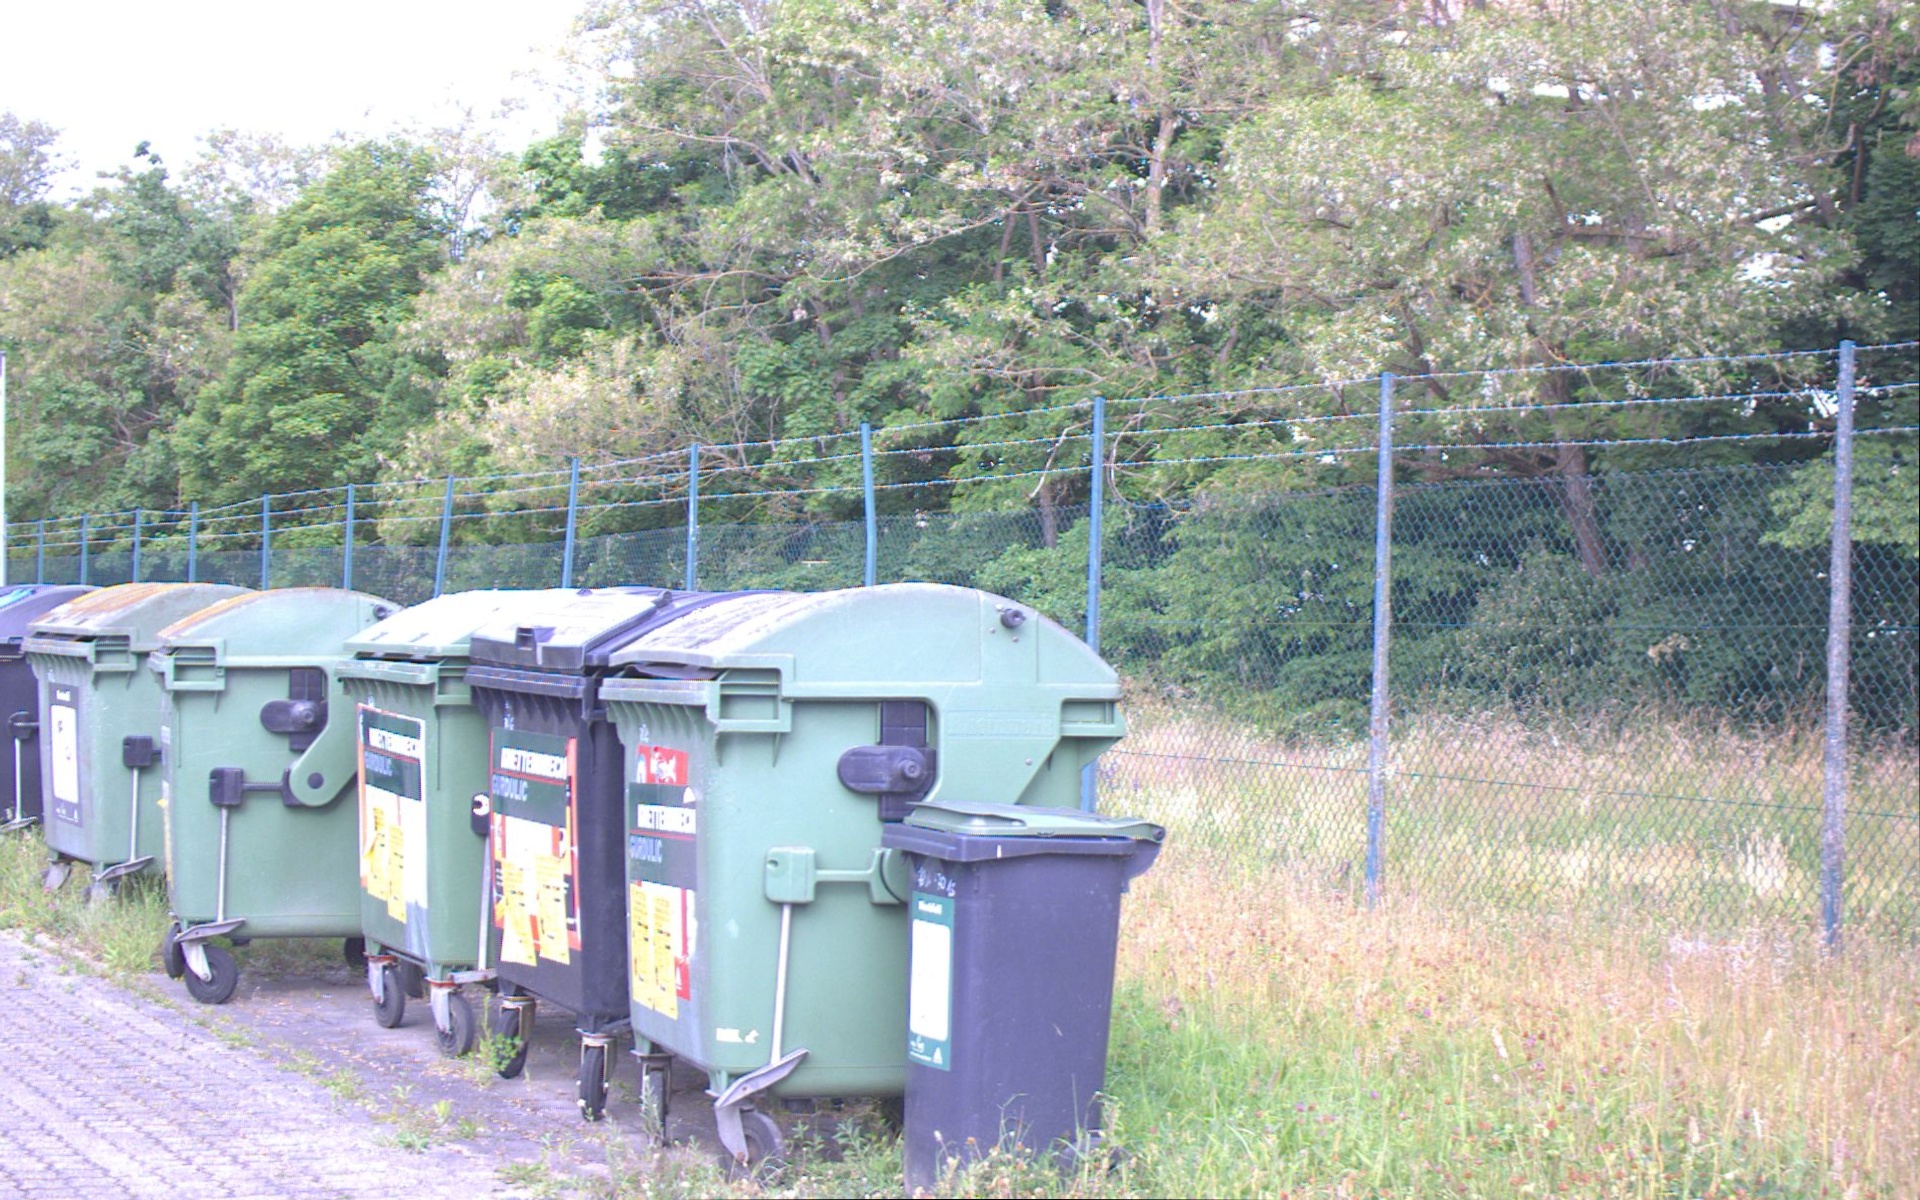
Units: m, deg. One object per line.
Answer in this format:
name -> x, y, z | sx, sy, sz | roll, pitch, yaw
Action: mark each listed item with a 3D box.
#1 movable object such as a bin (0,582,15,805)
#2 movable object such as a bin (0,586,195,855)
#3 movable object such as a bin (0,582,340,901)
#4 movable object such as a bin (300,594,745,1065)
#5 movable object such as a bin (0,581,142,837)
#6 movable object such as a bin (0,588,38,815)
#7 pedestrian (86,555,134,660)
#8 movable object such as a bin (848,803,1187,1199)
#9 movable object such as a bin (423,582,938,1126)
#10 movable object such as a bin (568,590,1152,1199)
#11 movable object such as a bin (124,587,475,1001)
movable object such as a bin -> -6.604, 0.570, 21.675 | 1.122, 1.375, 1.325 | 2, -1, -19
movable object such as a bin -> -4.647, 0.606, 17.745 | 1.154, 1.320, 1.494 | 2, -1, -19
movable object such as a bin -> -3.421, 0.592, 14.780 | 1.122, 1.292, 1.380 | 2, -1, -26
movable object such as a bin -> -1.438, 0.704, 11.089 | 1.069, 1.401, 1.385 | 2, -1, -22
movable object such as a bin -> -5.243, 0.593, 19.212 | 1.122, 1.369, 1.494 | 2, -1, -19
movable object such as a bin -> -6.128, 0.580, 20.460 | 1.122, 1.317, 1.325 | 1, 0, -19
pedestrian -> -16.406, 0.137, 66.344 | 0.759, 2.007, 0.664 | 1, 0, -26
movable object such as a bin -> 0.120, 0.908, 7.773 | 0.599, 0.863, 0.586 | 2, -1, -16
movable object such as a bin -> -0.837, 0.687, 9.898 | 1.069, 1.430, 1.398 | 2, -1, -22
movable object such as a bin -> -0.292, 0.695, 8.653 | 1.128, 1.391, 1.357 | 2, -1, -16
movable object such as a bin -> -2.407, 0.675, 12.390 | 1.122, 1.393, 1.385 | 2, -1, -14
